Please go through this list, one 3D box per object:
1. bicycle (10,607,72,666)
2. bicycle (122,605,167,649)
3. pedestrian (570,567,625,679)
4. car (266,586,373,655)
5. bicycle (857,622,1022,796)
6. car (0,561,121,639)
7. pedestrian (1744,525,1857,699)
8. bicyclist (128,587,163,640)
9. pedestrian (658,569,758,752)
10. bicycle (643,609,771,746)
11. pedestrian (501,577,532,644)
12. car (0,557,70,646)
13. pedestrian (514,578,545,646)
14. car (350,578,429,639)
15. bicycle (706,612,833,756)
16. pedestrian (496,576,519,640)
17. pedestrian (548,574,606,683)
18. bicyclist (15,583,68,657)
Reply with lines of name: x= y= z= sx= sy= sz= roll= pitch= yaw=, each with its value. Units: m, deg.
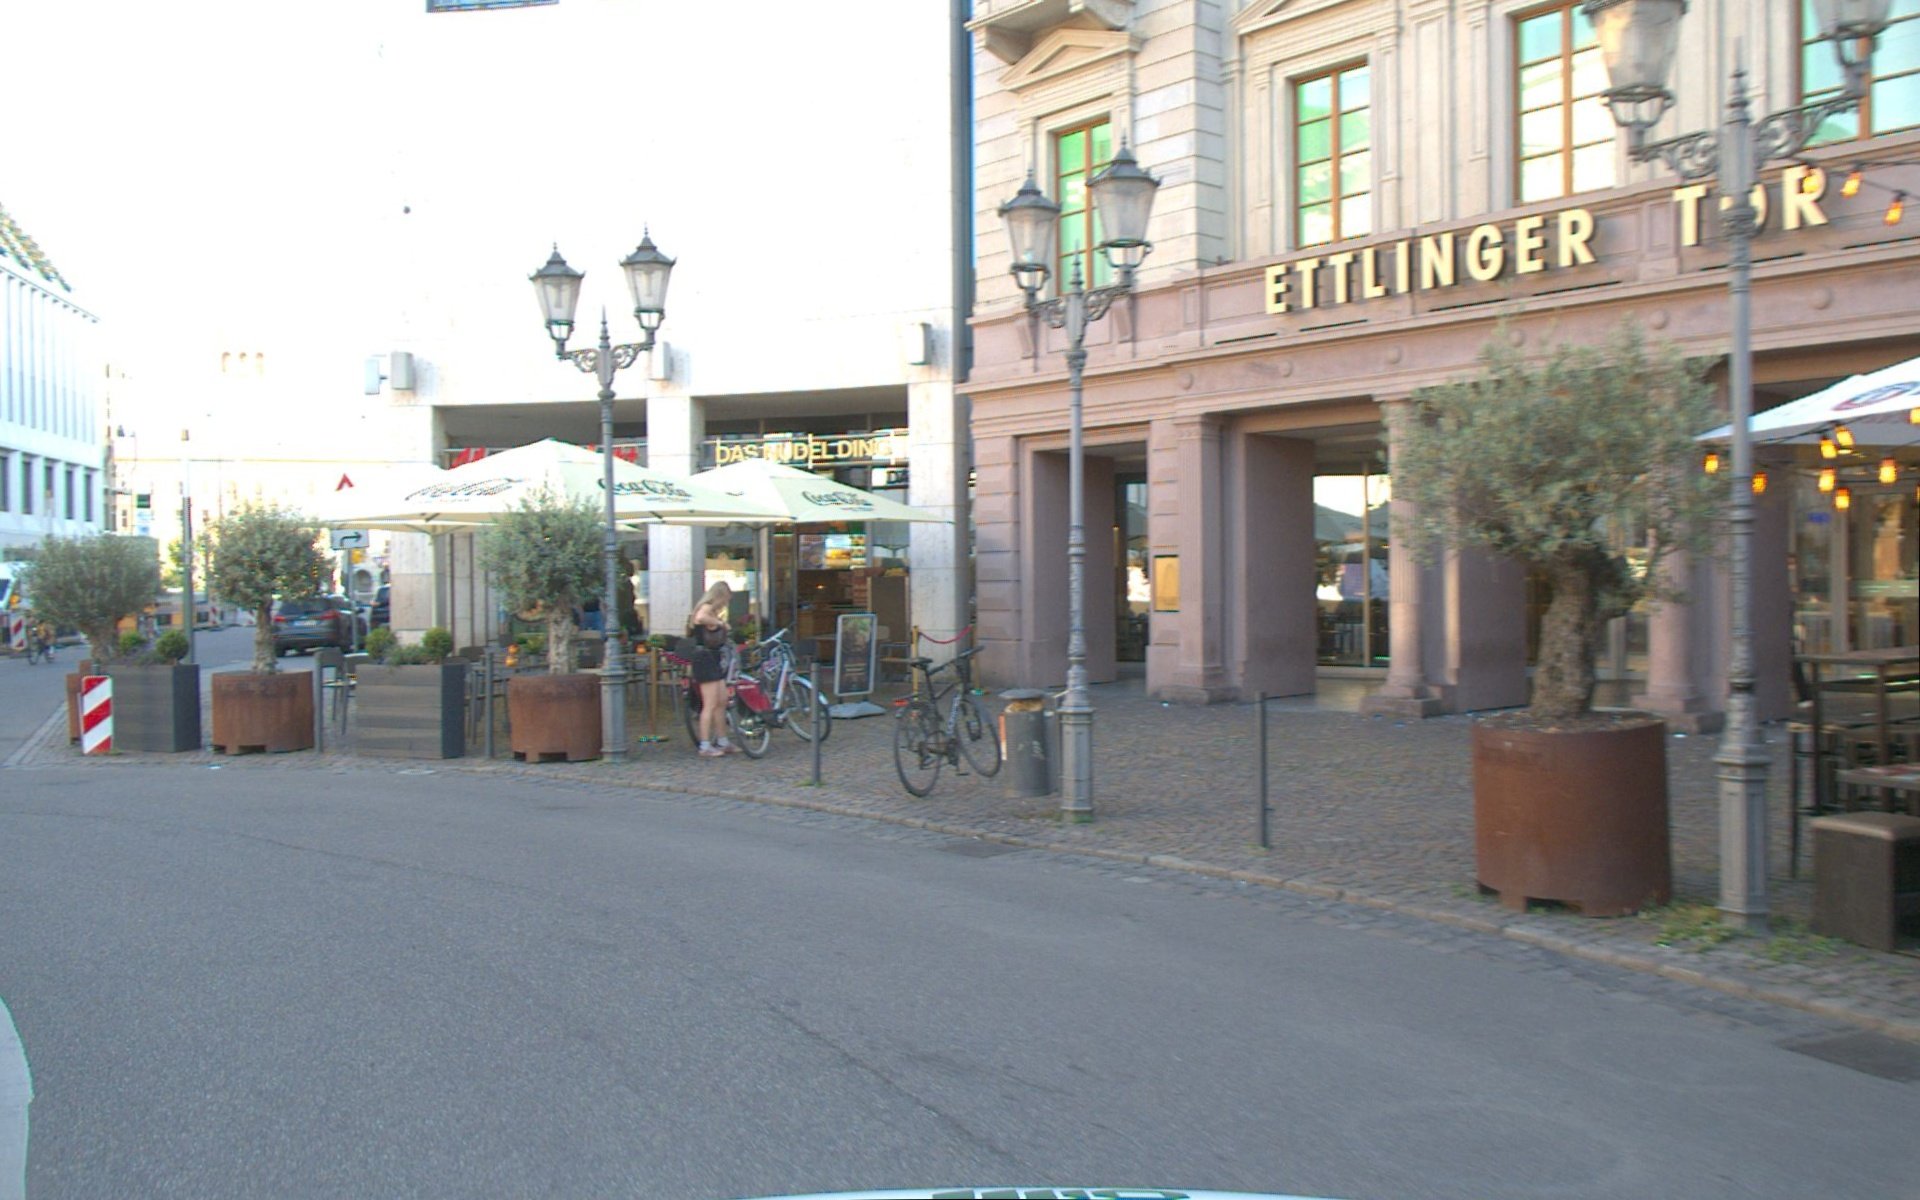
bicycle: x=-20.868 y=0.810 z=37.596 sx=0.784 sy=1.238 sz=2.222 roll=-1 pitch=1 yaw=-18
bicycle: x=-24.536 y=0.799 z=49.797 sx=0.783 sy=1.238 sz=2.223 roll=-1 pitch=1 yaw=-16
pedestrian: x=-6.195 y=0.382 z=28.280 sx=0.700 sy=1.894 sz=0.670 roll=-1 pitch=1 yaw=9
car: x=-16.044 y=0.465 z=41.628 sx=1.764 sy=1.516 sz=4.180 roll=-4 pitch=1 yaw=-12
bicycle: x=-0.120 y=0.812 z=13.117 sx=0.593 sy=1.147 sz=1.906 roll=0 pitch=3 yaw=22
car: x=-30.615 y=-0.039 z=56.424 sx=2.136 sy=2.513 sz=5.978 roll=-1 pitch=1 yaw=-13
pedestrian: x=8.896 y=0.116 z=17.504 sx=0.710 sy=1.777 sz=0.859 roll=-1 pitch=1 yaw=-40
bicyclist: x=-24.532 y=0.393 z=49.826 sx=0.783 sy=1.559 sz=0.970 roll=-1 pitch=1 yaw=-16
pedestrian: x=-2.286 y=0.535 z=15.060 sx=0.731 sy=1.616 sz=0.715 roll=-1 pitch=1 yaw=4
bicycle: x=-2.434 y=0.719 z=16.142 sx=0.592 sy=1.147 sz=1.908 roll=-1 pitch=3 yaw=11
pedestrian: x=-11.791 y=0.266 z=43.972 sx=0.752 sy=1.710 sz=0.874 roll=-1 pitch=2 yaw=-14
car: x=-28.612 y=0.026 z=49.269 sx=2.136 sy=2.513 sz=5.979 roll=-1 pitch=1 yaw=-13
pedestrian: x=-11.181 y=0.302 z=42.993 sx=0.752 sy=1.710 sz=0.874 roll=-1 pitch=2 yaw=-14
car: x=-17.256 y=0.229 z=50.199 sx=1.738 sy=1.666 sz=4.044 roll=-4 pitch=1 yaw=-13
bicycle: x=-1.735 y=0.740 z=15.373 sx=0.592 sy=1.147 sz=1.908 roll=-1 pitch=3 yaw=11
pedestrian: x=-12.341 y=0.214 z=45.135 sx=0.581 sy=1.728 sz=0.693 roll=-1 pitch=1 yaw=-16
pedestrian: x=-6.349 y=0.458 z=27.444 sx=0.700 sy=1.775 sz=0.670 roll=-1 pitch=1 yaw=9
bicyclist: x=-20.874 y=0.441 z=37.600 sx=0.784 sy=1.631 sz=1.225 roll=-1 pitch=1 yaw=-18
